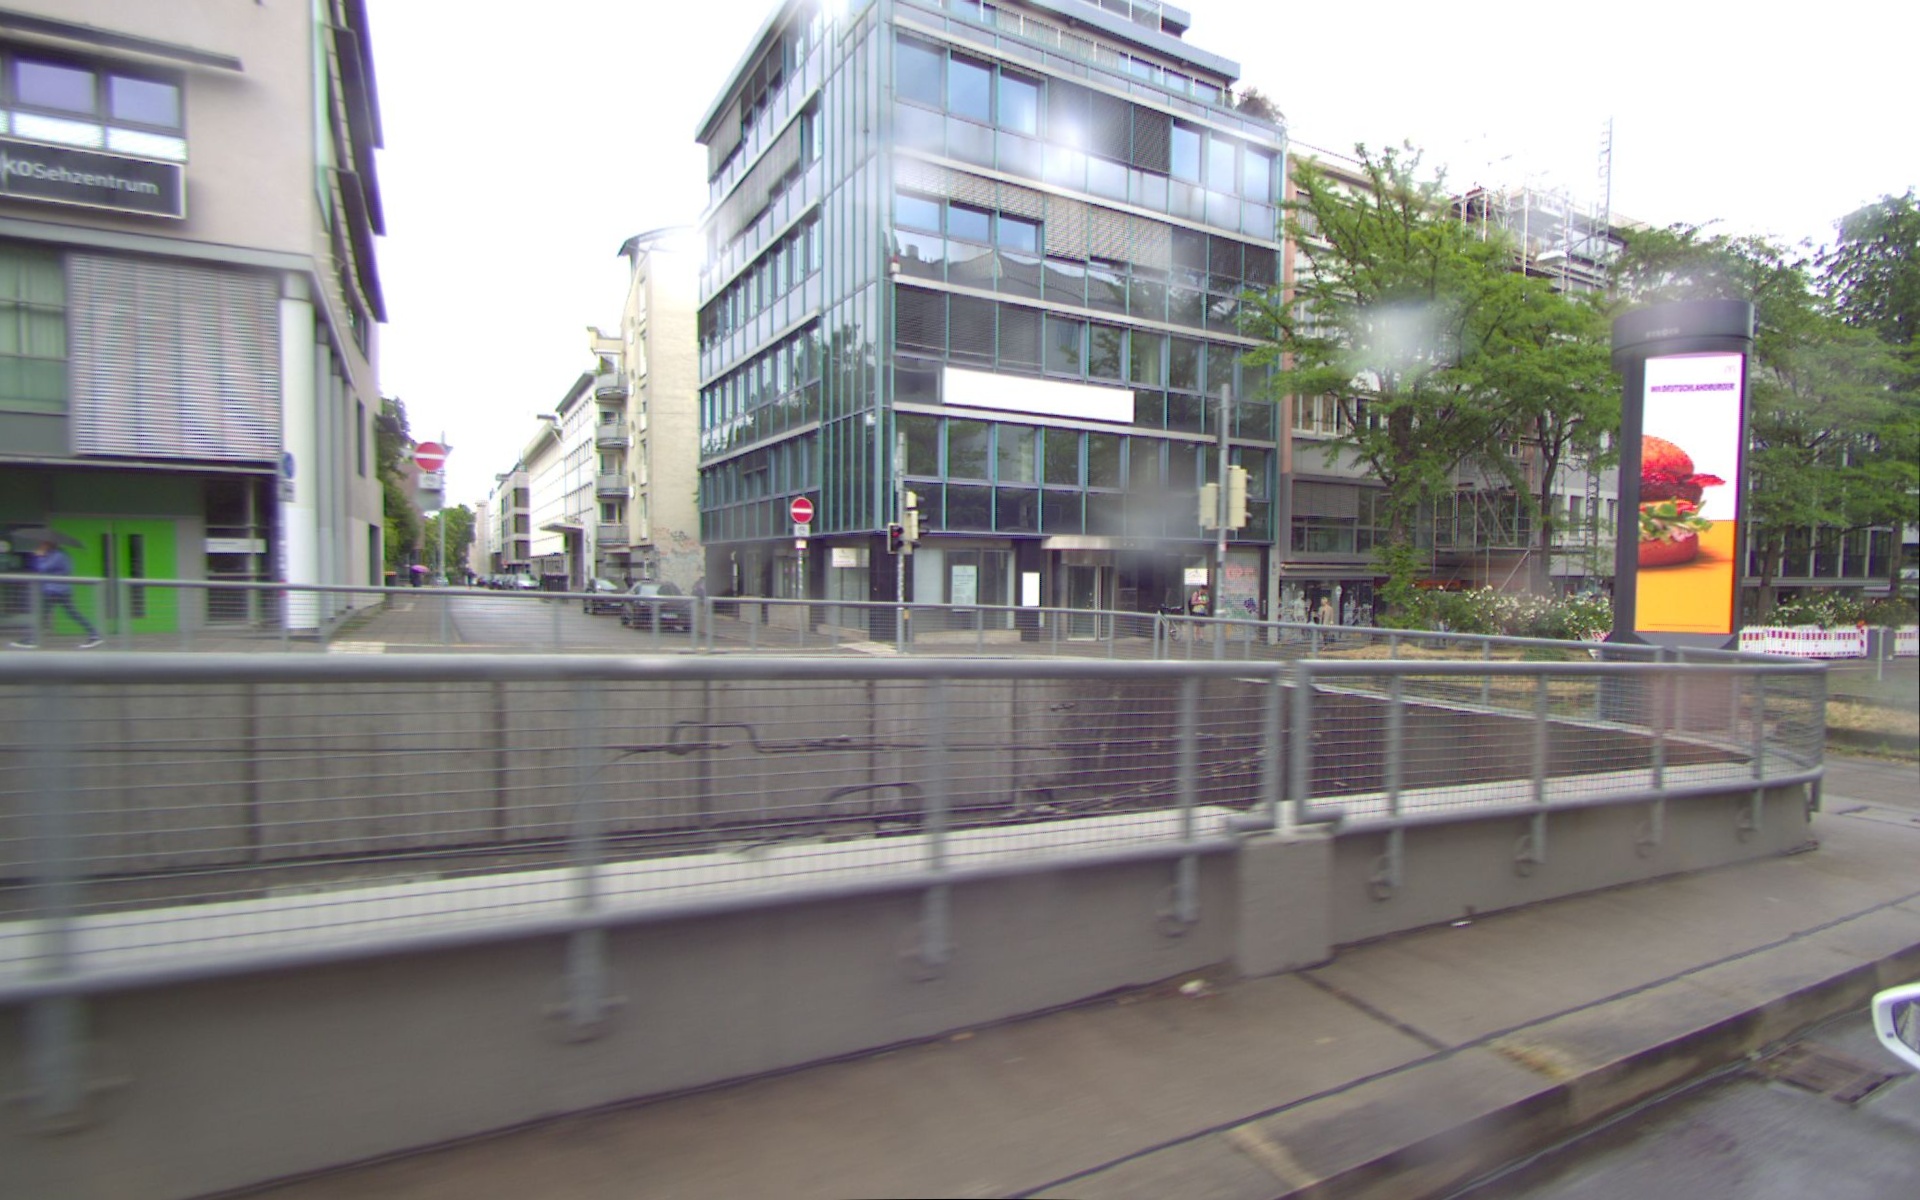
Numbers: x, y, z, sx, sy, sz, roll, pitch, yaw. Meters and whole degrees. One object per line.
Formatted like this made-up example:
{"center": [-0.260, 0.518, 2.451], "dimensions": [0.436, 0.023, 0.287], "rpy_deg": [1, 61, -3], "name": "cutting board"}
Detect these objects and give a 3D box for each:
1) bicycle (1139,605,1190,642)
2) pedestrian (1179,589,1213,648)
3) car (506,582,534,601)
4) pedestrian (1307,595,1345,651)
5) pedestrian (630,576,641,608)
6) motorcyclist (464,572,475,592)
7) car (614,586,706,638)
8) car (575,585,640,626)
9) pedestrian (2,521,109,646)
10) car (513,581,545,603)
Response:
{"center": [6.207, 0.727, 30.494], "dimensions": [1.544, 1.100, 0.444], "rpy_deg": [1, 1, -26], "name": "bicycle"}
{"center": [7.288, 0.557, 31.001], "dimensions": [0.688, 1.765, 0.691], "rpy_deg": [1, 2, -35], "name": "pedestrian"}
{"center": [-37.817, -0.742, 86.271], "dimensions": [1.777, 1.578, 3.967], "rpy_deg": [1, 0, -30], "name": "car"}
{"center": [11.877, 0.746, 32.576], "dimensions": [0.867, 1.765, 0.689], "rpy_deg": [1, 2, -32], "name": "pedestrian"}
{"center": [-17.435, -0.423, 53.896], "dimensions": [0.443, 1.664, 0.326], "rpy_deg": [1, 2, -35], "name": "pedestrian"}
{"center": [-45.643, -1.650, 93.501], "dimensions": [0.850, 1.832, 1.007], "rpy_deg": [2, 1, -29], "name": "motorcyclist"}
{"center": [-9.897, 0.375, 32.973], "dimensions": [1.977, 1.578, 3.966], "rpy_deg": [1, 0, -31], "name": "car"}
{"center": [-14.745, 0.205, 41.920], "dimensions": [1.777, 1.578, 3.966], "rpy_deg": [1, 0, -31], "name": "car"}
{"center": [-14.015, -0.250, 15.599], "dimensions": [1.047, 1.863, 0.853], "rpy_deg": [1, 2, -30], "name": "pedestrian"}
{"center": [-32.824, -0.607, 76.413], "dimensions": [1.777, 1.578, 3.967], "rpy_deg": [1, 0, -30], "name": "car"}
